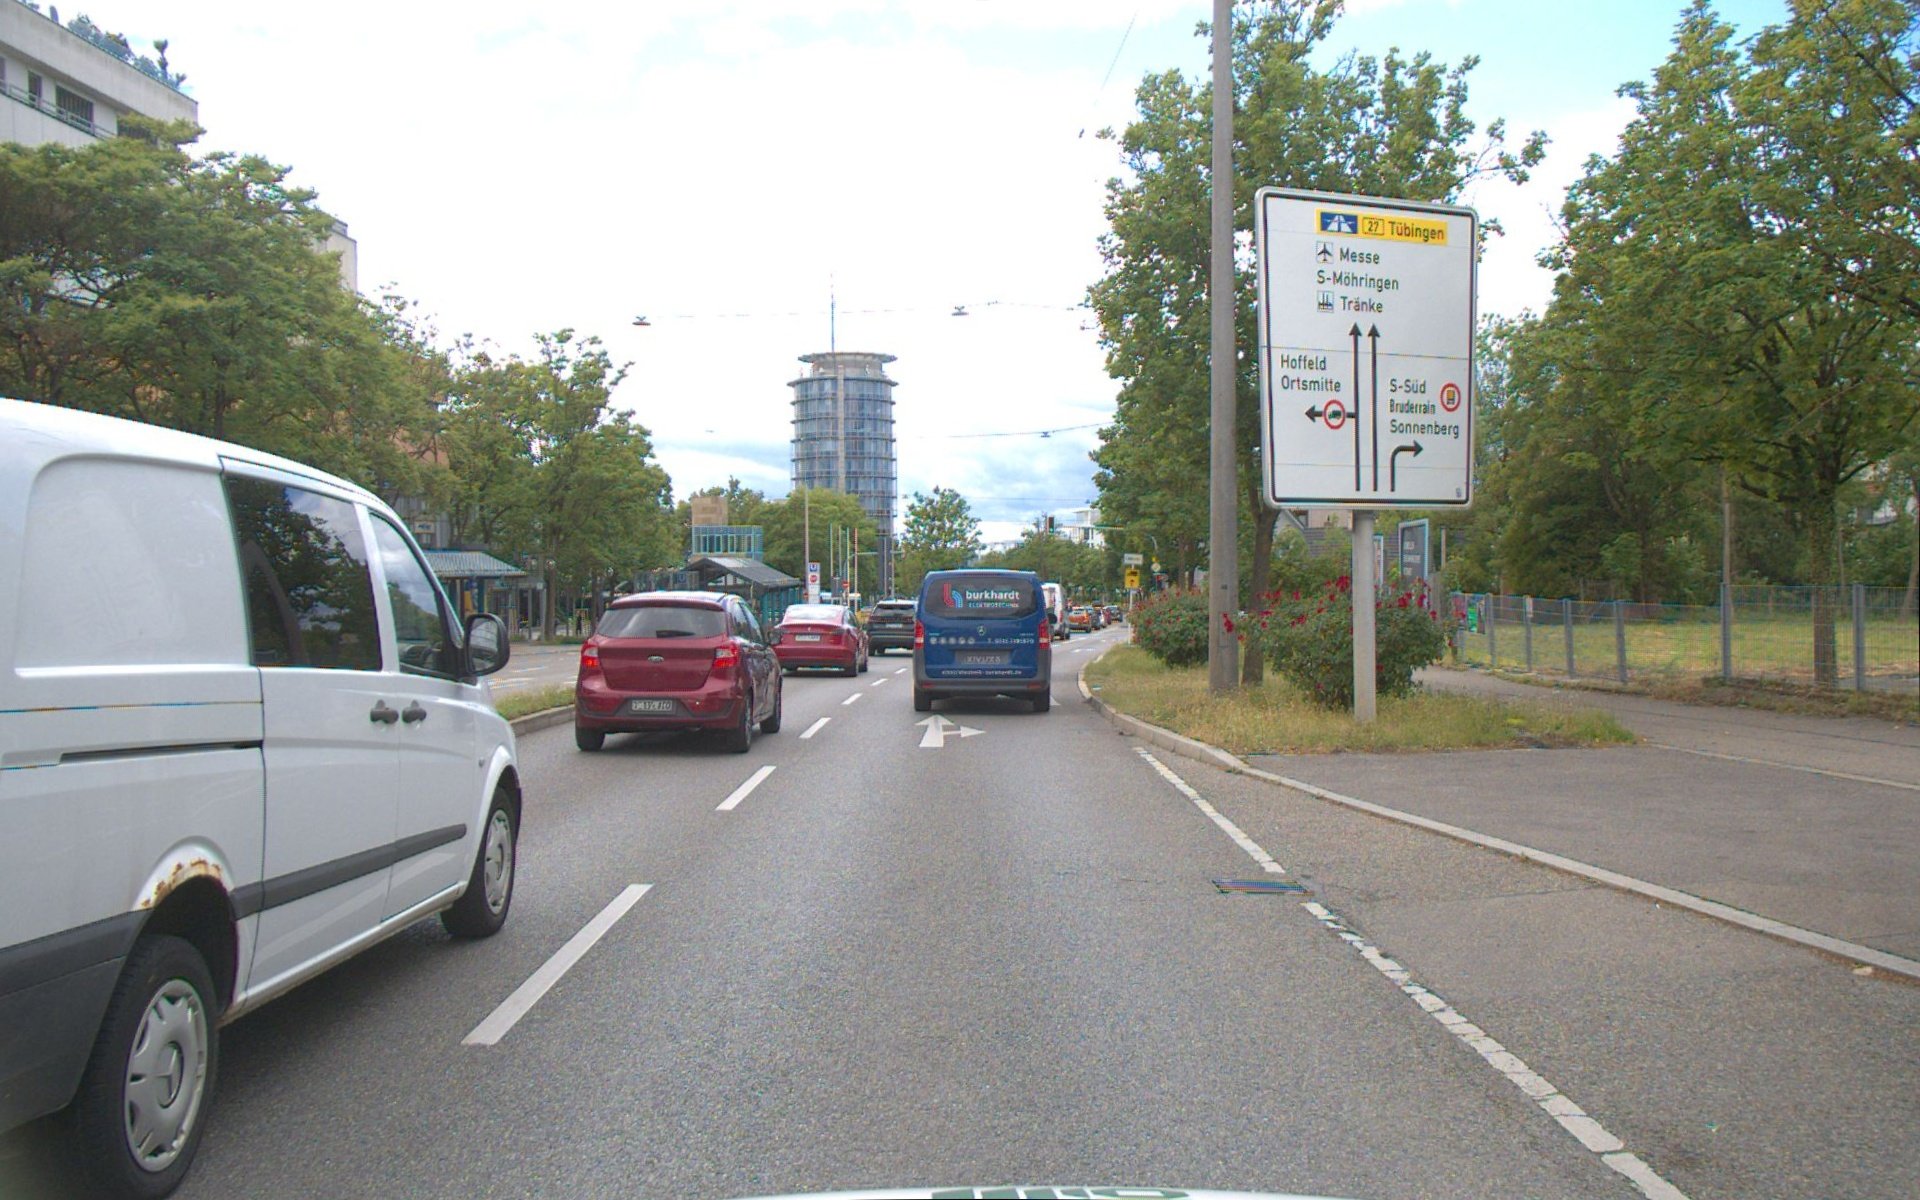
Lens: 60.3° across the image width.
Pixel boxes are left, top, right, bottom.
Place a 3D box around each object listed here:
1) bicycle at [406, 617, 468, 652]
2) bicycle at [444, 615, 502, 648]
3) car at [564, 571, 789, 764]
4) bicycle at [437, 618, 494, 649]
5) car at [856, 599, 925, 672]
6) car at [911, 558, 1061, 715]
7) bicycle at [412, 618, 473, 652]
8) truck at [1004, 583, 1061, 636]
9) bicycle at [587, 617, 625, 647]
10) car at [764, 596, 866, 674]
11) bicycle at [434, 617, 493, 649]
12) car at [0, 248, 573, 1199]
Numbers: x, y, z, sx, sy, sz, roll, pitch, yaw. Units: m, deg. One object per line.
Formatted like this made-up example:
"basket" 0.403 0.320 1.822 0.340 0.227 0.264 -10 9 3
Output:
"bicycle" -18.949 1.249 59.943 2.026 1.173 0.710 2 -1 -8
"bicycle" -18.965 1.240 64.453 2.026 1.173 0.710 3 -1 -8
"car" -2.795 0.634 17.103 1.711 1.754 3.999 0 -1 -1
"bicycle" -18.970 1.286 63.479 2.026 1.173 0.710 -1 -1 -8
"car" -2.068 1.042 50.174 1.953 2.049 3.999 1 1 -1
"car" 0.302 0.488 23.510 1.908 2.000 4.540 0 -1 -1
"bicycle" -19.109 1.283 61.089 2.026 1.173 0.710 2 -1 -8
"truck" 3.304 0.432 74.227 1.951 2.203 5.563 2 0 8
"bicycle" -16.038 1.433 74.941 1.030 1.293 2.426 2 0 4
"car" -2.963 0.750 34.552 1.830 1.512 3.998 -1 -2 -1
"bicycle" -18.632 1.247 62.081 2.026 1.173 0.710 1 -1 -8
"car" -2.749 0.335 5.426 1.836 2.048 5.074 2 0 -2
